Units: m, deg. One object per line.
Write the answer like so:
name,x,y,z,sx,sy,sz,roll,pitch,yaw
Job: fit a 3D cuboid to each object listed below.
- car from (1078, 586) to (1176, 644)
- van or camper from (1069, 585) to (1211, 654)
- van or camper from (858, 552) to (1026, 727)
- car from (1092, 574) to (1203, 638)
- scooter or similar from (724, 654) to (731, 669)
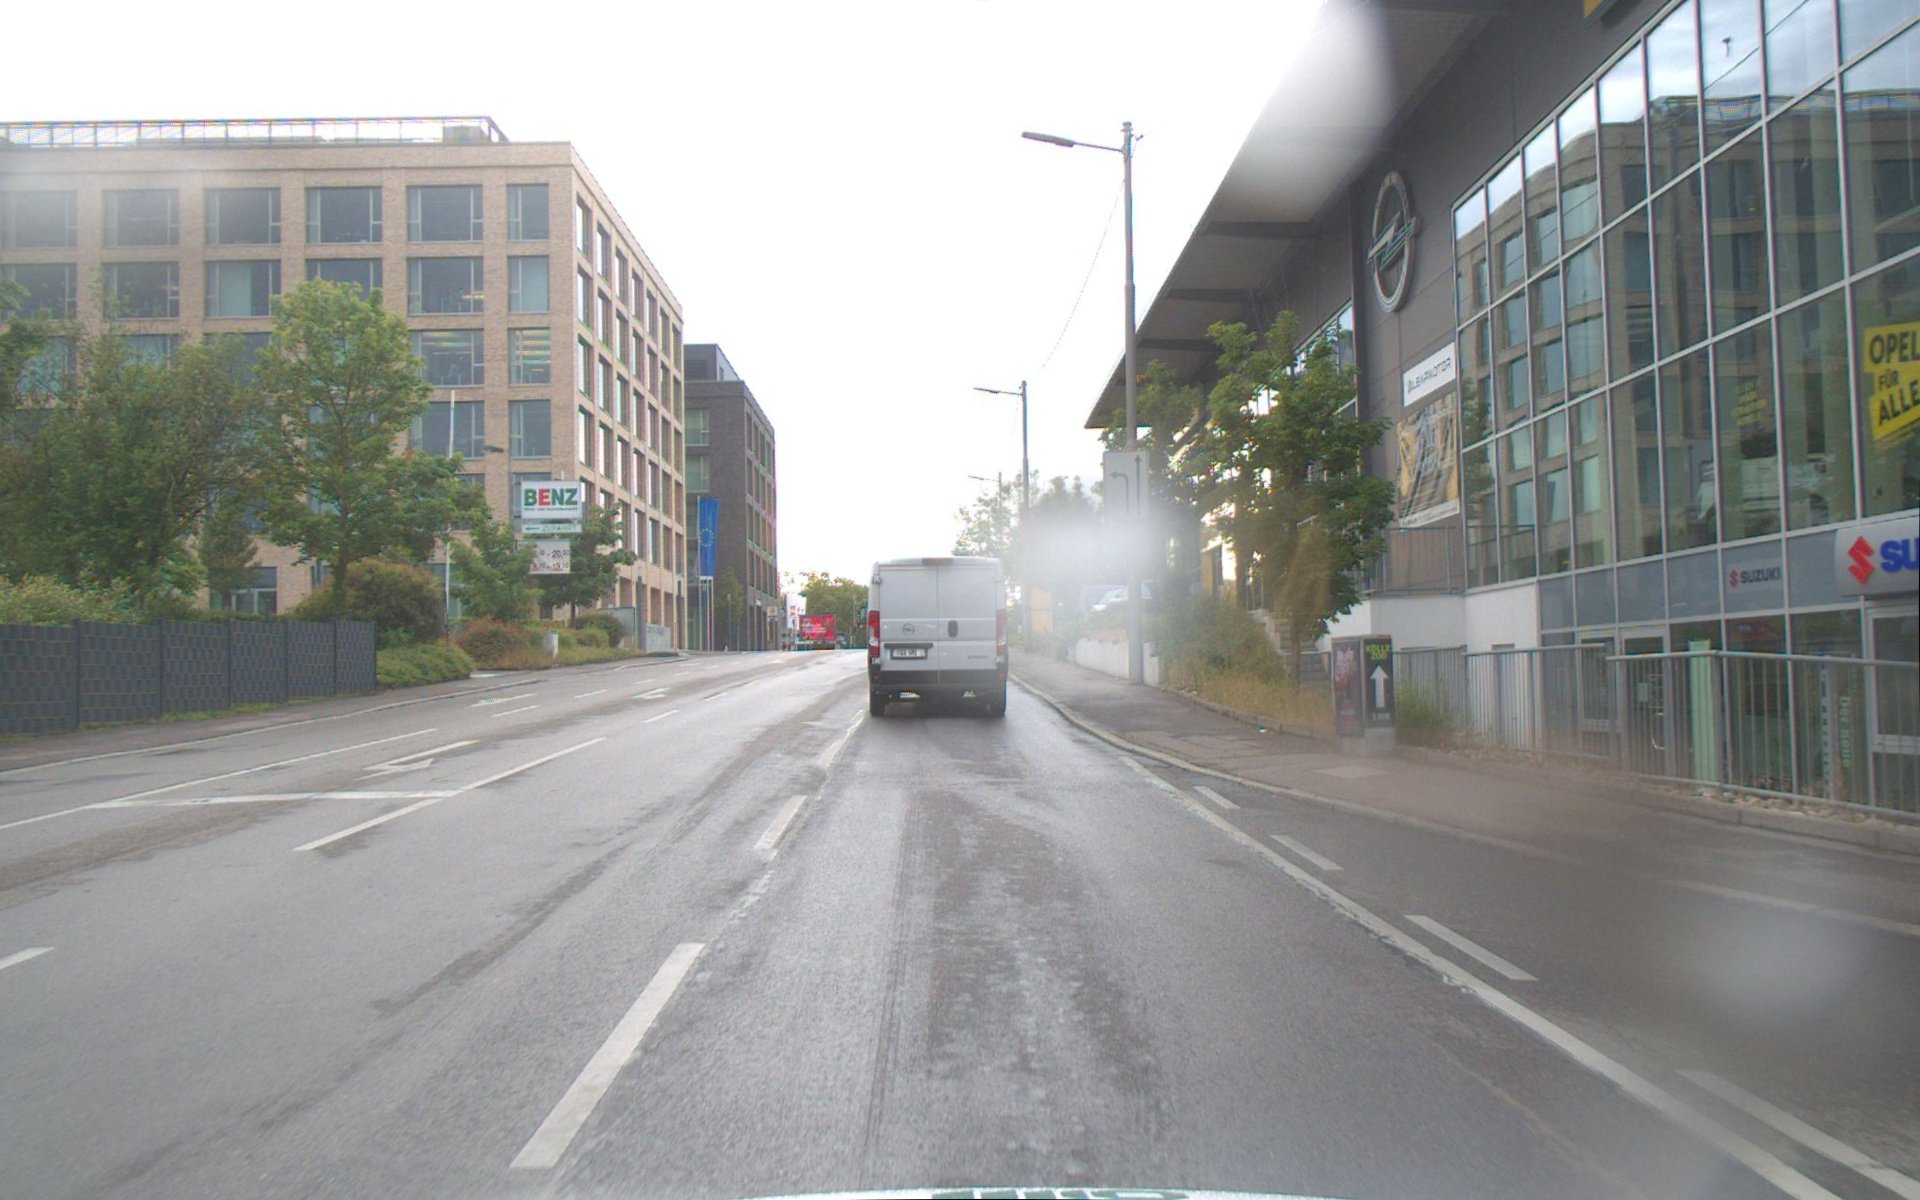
car,5.580,0.529,54.694,1.953,1.740,4.577,-4,-2,22
van or camper,7.448,0.820,68.736,5.620,2.772,2.351,0,-1,-1
van or camper,-0.248,0.589,25.339,2.292,2.398,5.198,0,-1,0
car,5.710,0.206,49.913,1.954,1.740,4.425,-4,-2,25
scooter or similar,-16.528,4.388,117.657,0.343,1.090,1.428,0,-3,0
